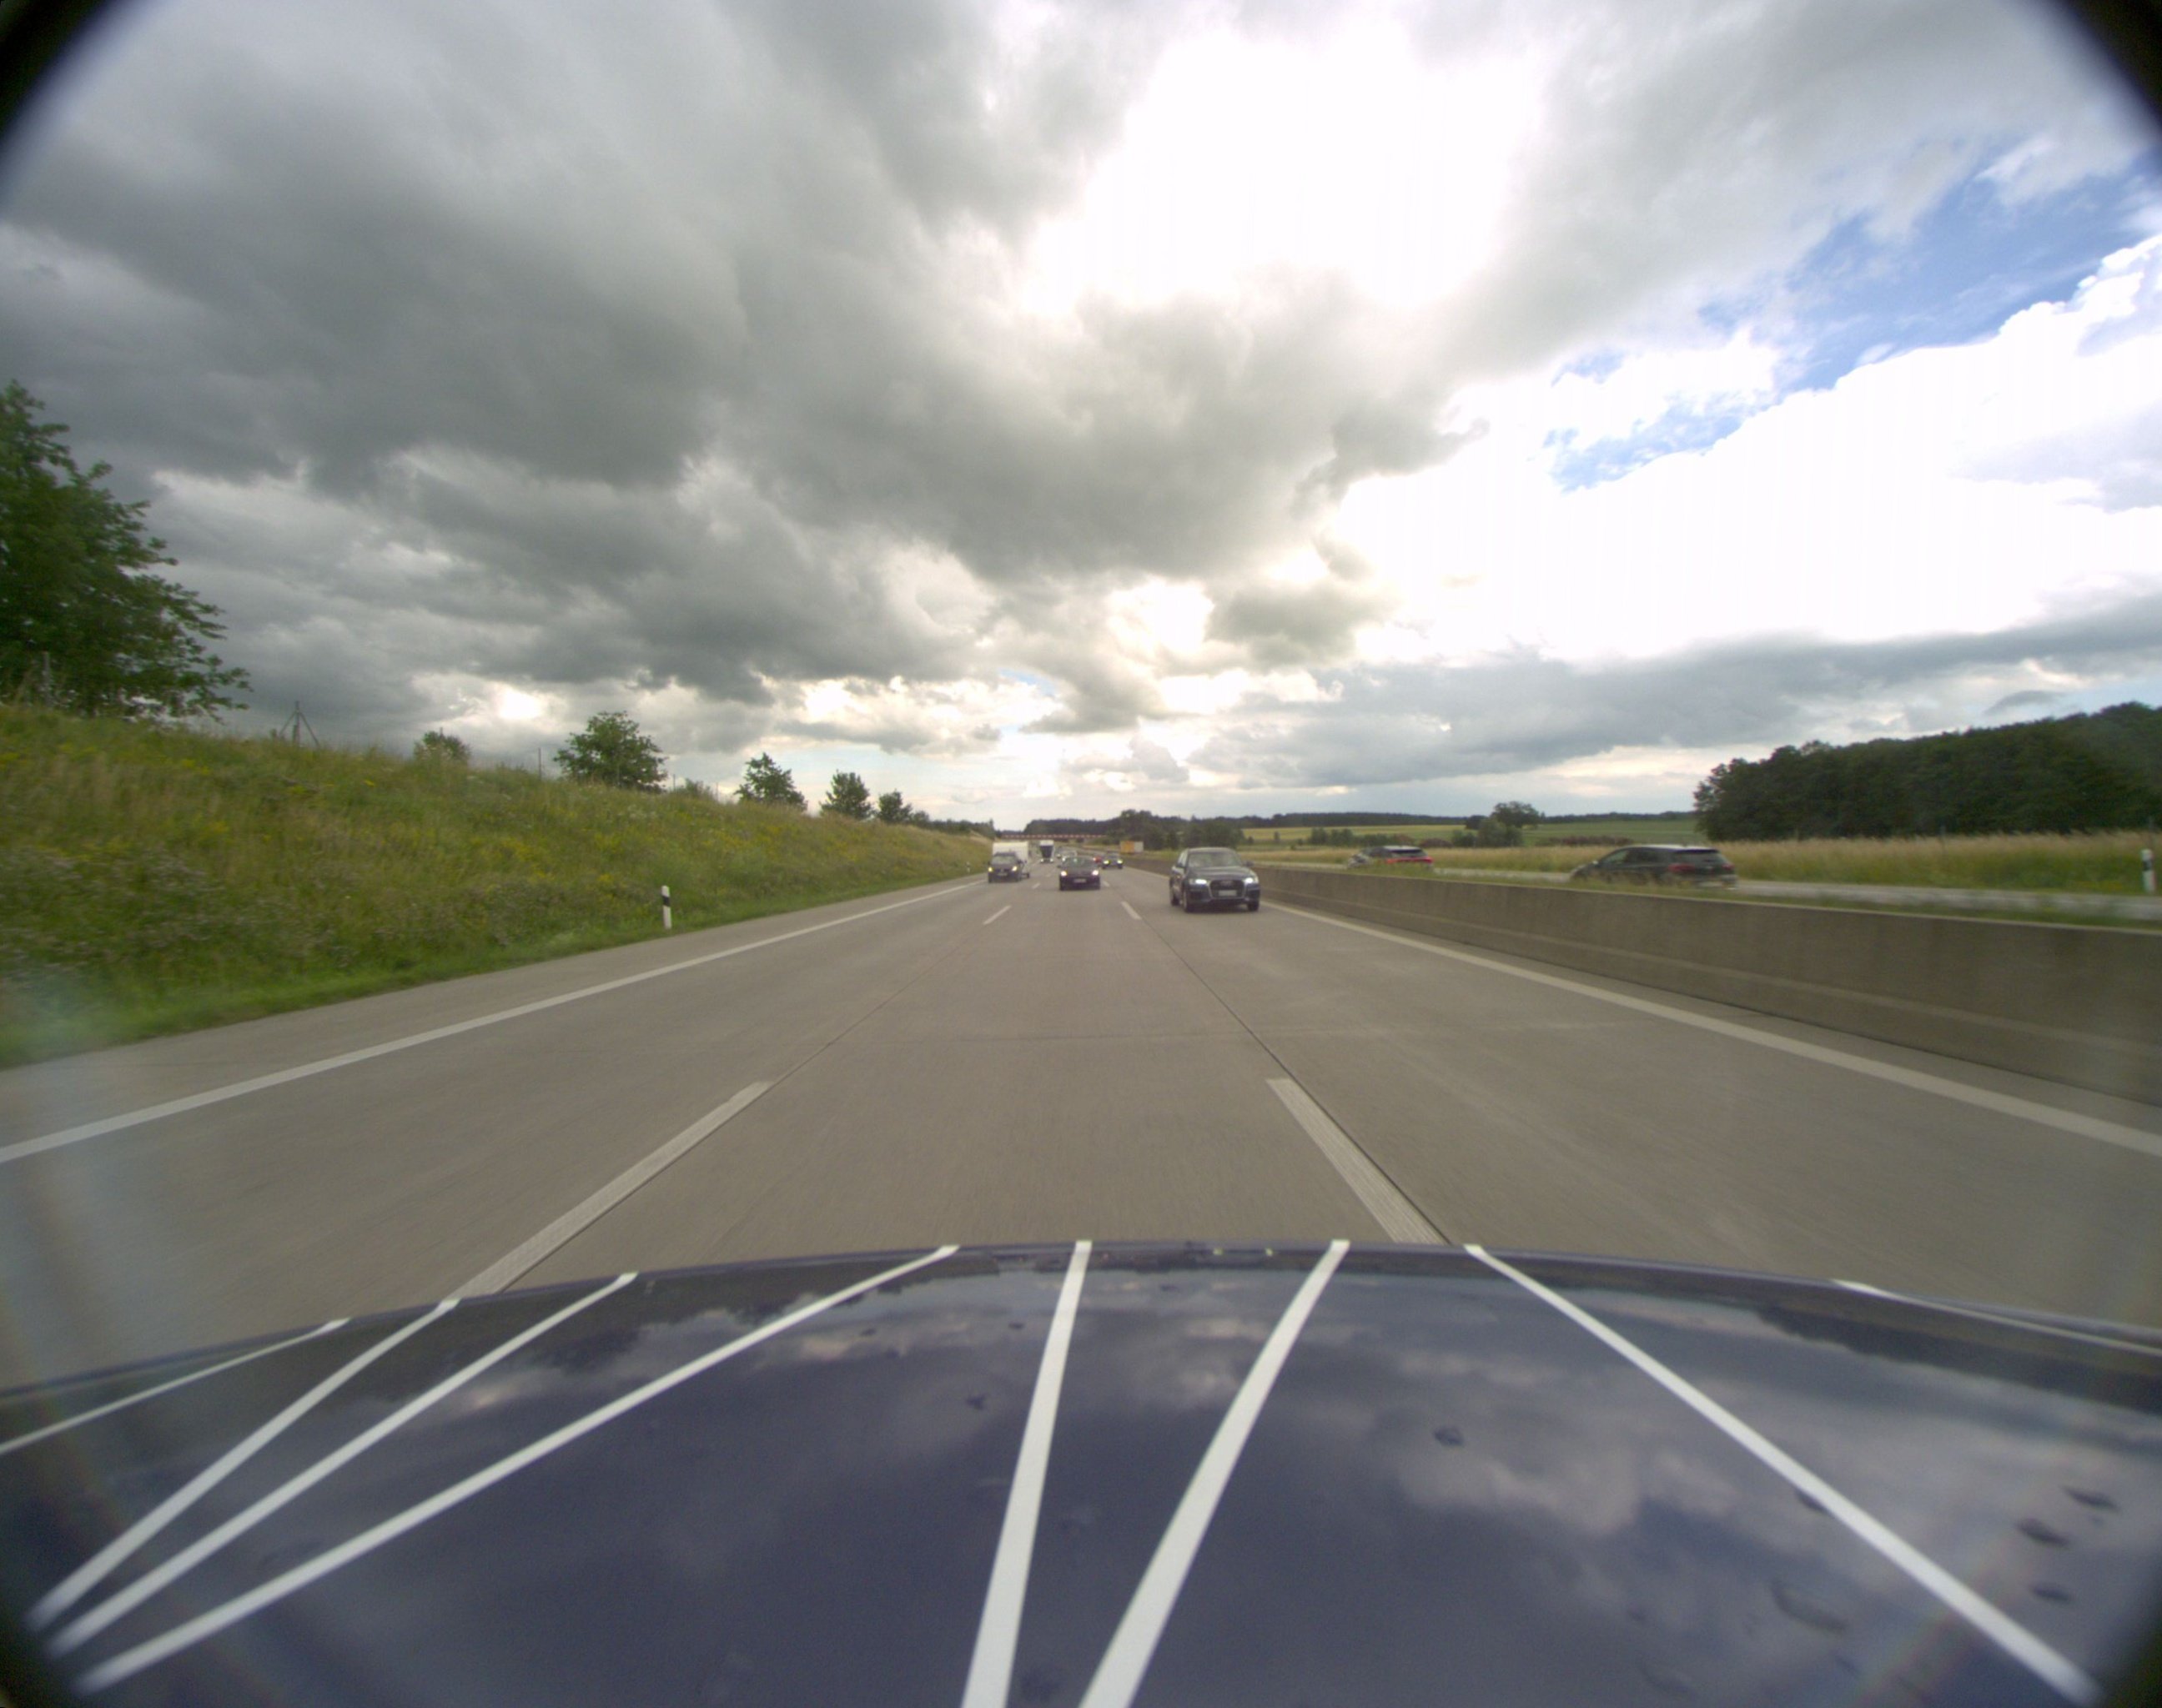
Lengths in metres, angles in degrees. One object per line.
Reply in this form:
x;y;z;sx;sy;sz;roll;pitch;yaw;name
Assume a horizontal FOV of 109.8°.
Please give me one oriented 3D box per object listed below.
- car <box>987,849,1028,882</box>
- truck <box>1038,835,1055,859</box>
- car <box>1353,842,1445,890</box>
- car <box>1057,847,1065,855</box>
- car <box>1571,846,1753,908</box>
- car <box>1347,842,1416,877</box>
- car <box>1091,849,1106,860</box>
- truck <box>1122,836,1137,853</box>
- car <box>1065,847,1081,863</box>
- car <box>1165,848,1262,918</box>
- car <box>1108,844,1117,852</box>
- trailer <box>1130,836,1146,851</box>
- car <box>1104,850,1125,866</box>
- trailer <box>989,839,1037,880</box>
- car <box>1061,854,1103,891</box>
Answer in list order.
-4.301;0.620;45.097;1.944;1.799;5.030;-2;1;-1;car
-6.207;-1.227;139.023;2.855;4.176;10.707;-1;0;-2;truck
11.463;0.392;27.688;1.693;1.601;4.000;-1;0;1;car
-5.004;-0.752;191.844;1.998;2.002;3.999;-2;1;0;car
14.827;0.521;19.695;1.666;1.390;4.000;-1;0;1;car
15.410;0.239;39.213;1.998;1.674;4.063;-1;0;1;car
2.460;0.077;104.875;1.821;1.364;3.783;-3;1;4;car
11.967;-2.379;189.035;2.824;4.015;10.566;-1;0;-1;truck
-1.051;0.089;99.726;1.999;2.002;3.999;-1;0;-2;car
3.376;0.658;20.283;1.797;1.587;5.157;-2;1;2;car
8.282;-1.499;201.507;1.817;1.951;5.338;-2;1;-2;car
15.089;-2.725;203.113;2.847;4.014;13.904;-1;0;-1;trailer
3.210;0.359;71.957;1.939;1.464;4.001;-1;0;3;car
-4.450;0.285;50.956;2.615;2.520;6.720;-2;1;-1;trailer
0.024;0.767;33.071;1.691;1.405;3.999;-2;1;-1;car
